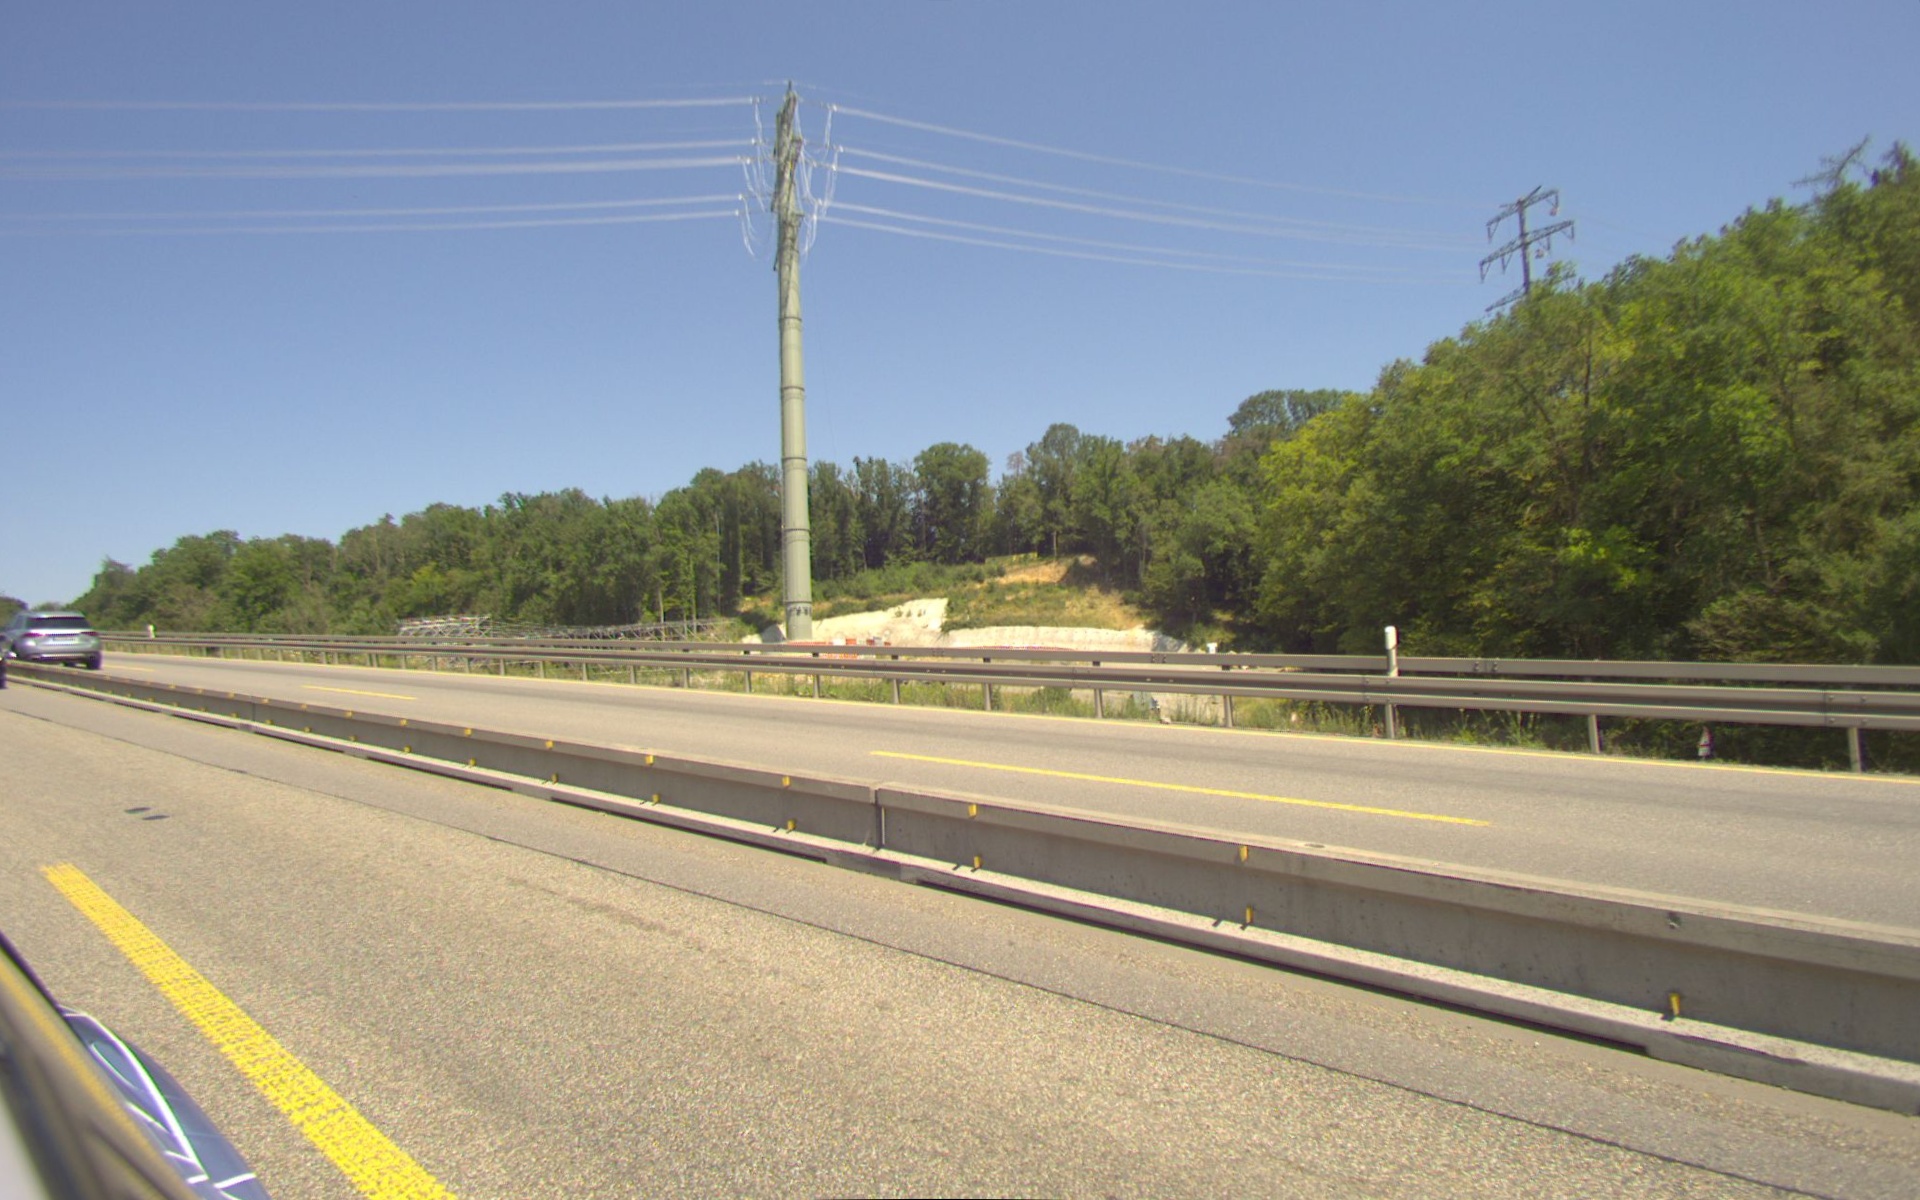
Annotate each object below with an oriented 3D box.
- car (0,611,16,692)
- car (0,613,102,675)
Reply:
[{"bbox_3d":[-22.955,1.174,22.654,5.295,1.719,1.839,-2,-1,38],"label":"car"},{"bbox_3d":[-27.980,1.301,30.761,4.727,1.718,1.894,-1,-1,37],"label":"car"}]
